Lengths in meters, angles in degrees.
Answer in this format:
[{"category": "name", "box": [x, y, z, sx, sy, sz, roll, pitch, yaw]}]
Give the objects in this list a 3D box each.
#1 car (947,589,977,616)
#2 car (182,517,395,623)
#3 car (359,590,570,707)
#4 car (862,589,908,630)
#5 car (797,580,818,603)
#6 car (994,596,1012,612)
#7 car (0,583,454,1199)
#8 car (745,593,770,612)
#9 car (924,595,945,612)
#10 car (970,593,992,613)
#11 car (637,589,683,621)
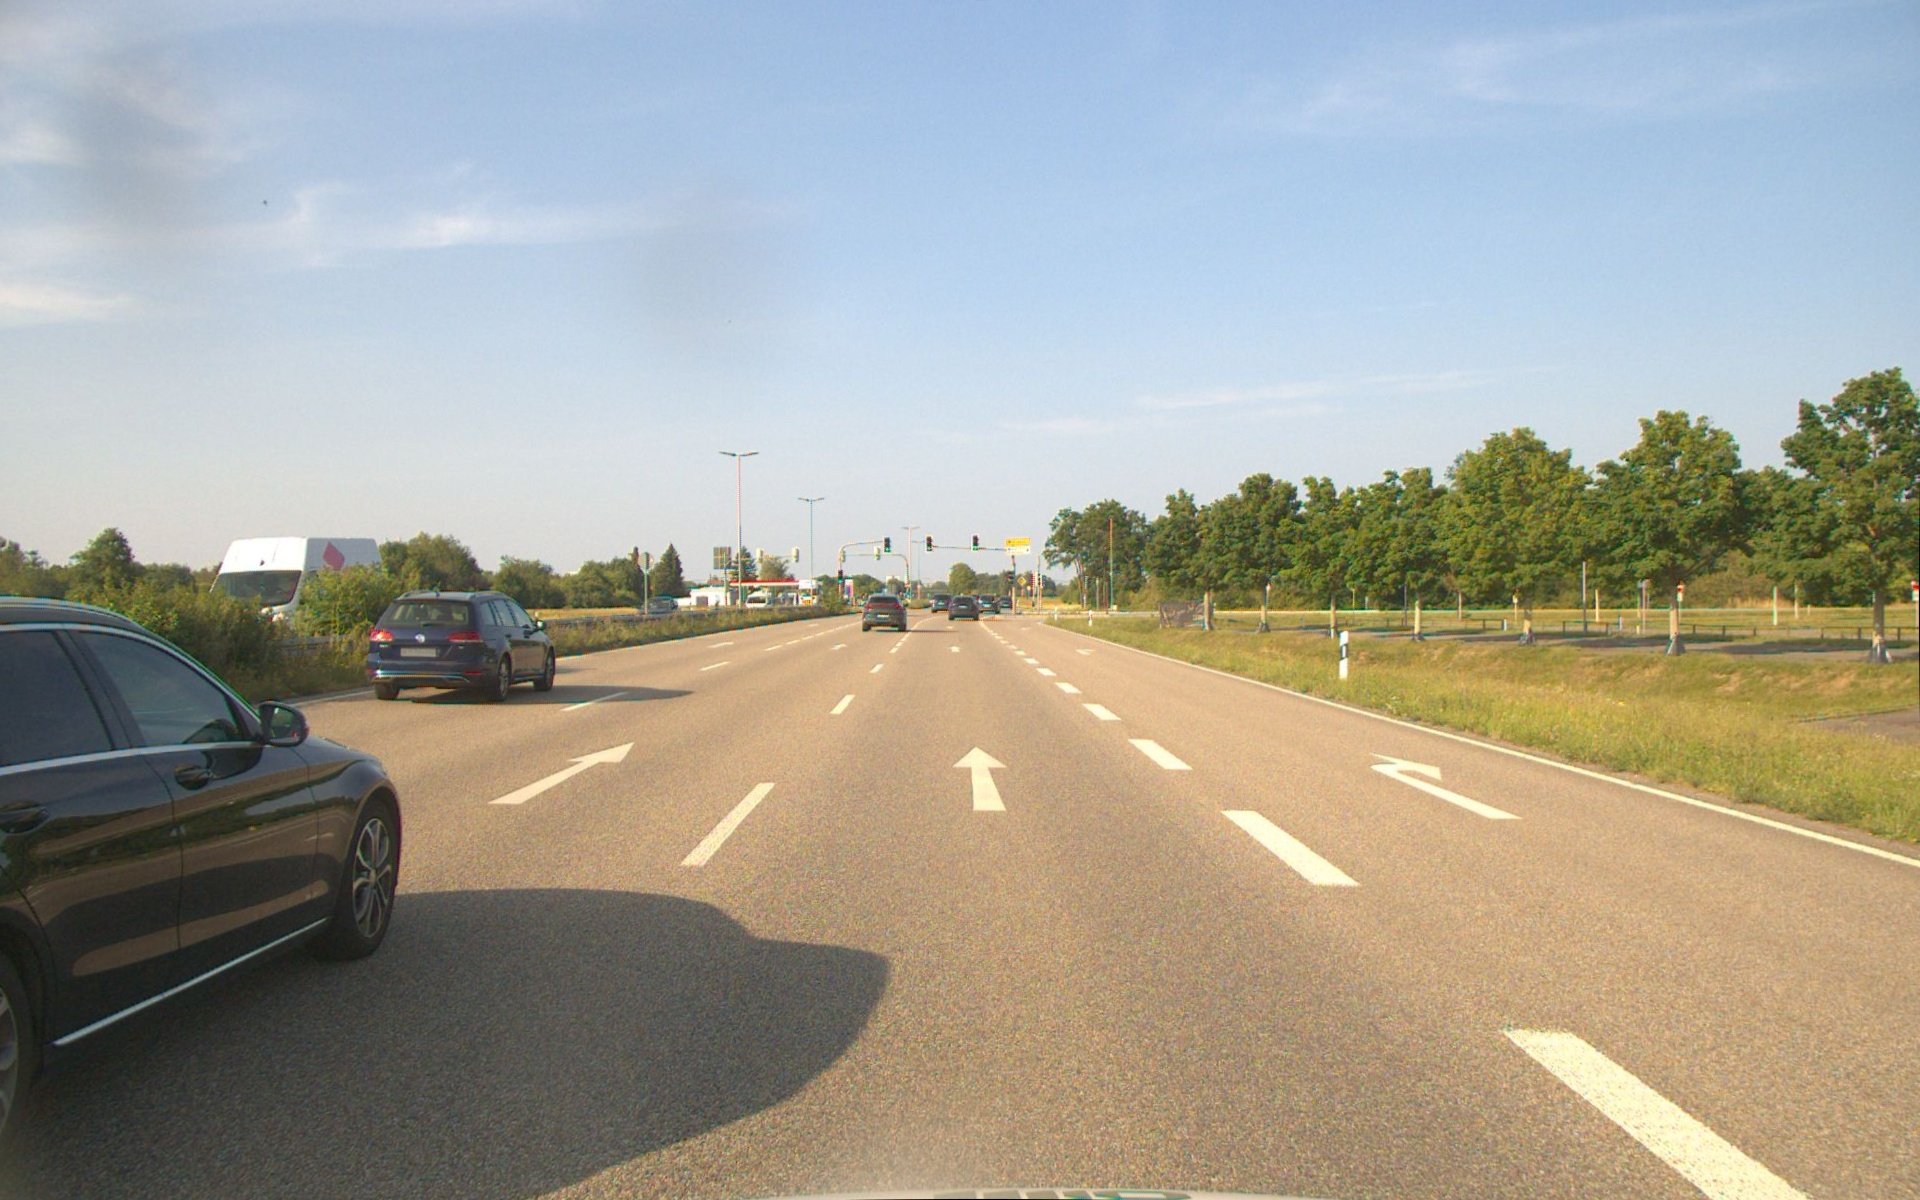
[{"category": "car", "box": [0.092, 0.151, 110.497, 1.893, 1.709, 4.400, 2, 0, -1]}, {"category": "car", "box": [-14.397, -0.563, 35.965, 2.117, 2.071, 6.321, 1, -1, -1]}, {"category": "car", "box": [-6.931, 0.610, 23.631, 1.612, 1.497, 4.776, 0, 0, -1]}, {"category": "car", "box": [-3.234, 0.380, 71.931, 1.808, 1.640, 4.400, 2, 0, -1]}, {"category": "car", "box": [-19.550, -1.057, 212.297, 2.225, 2.902, 5.248, 0, 0, -1]}, {"category": "car", "box": [4.864, 0.462, 187.520, 1.907, 1.665, 3.446, 1, -1, -2]}, {"category": "car", "box": [-3.080, 0.705, 5.075, 1.540, 1.497, 5.022, 0, 0, 0]}, {"category": "car", "box": [-15.139, 0.150, 123.694, 1.490, 1.386, 3.443, 0, 0, -1]}, {"category": "car", "box": [-2.179, 0.280, 142.817, 1.776, 1.489, 4.400, 0, 0, -1]}, {"category": "car", "box": [1.810, 0.220, 142.927, 1.713, 1.645, 3.757, 2, 0, -1]}, {"category": "car", "box": [-14.417, 0.266, 79.637, 1.577, 1.466, 3.619, 1, -1, -1]}]
